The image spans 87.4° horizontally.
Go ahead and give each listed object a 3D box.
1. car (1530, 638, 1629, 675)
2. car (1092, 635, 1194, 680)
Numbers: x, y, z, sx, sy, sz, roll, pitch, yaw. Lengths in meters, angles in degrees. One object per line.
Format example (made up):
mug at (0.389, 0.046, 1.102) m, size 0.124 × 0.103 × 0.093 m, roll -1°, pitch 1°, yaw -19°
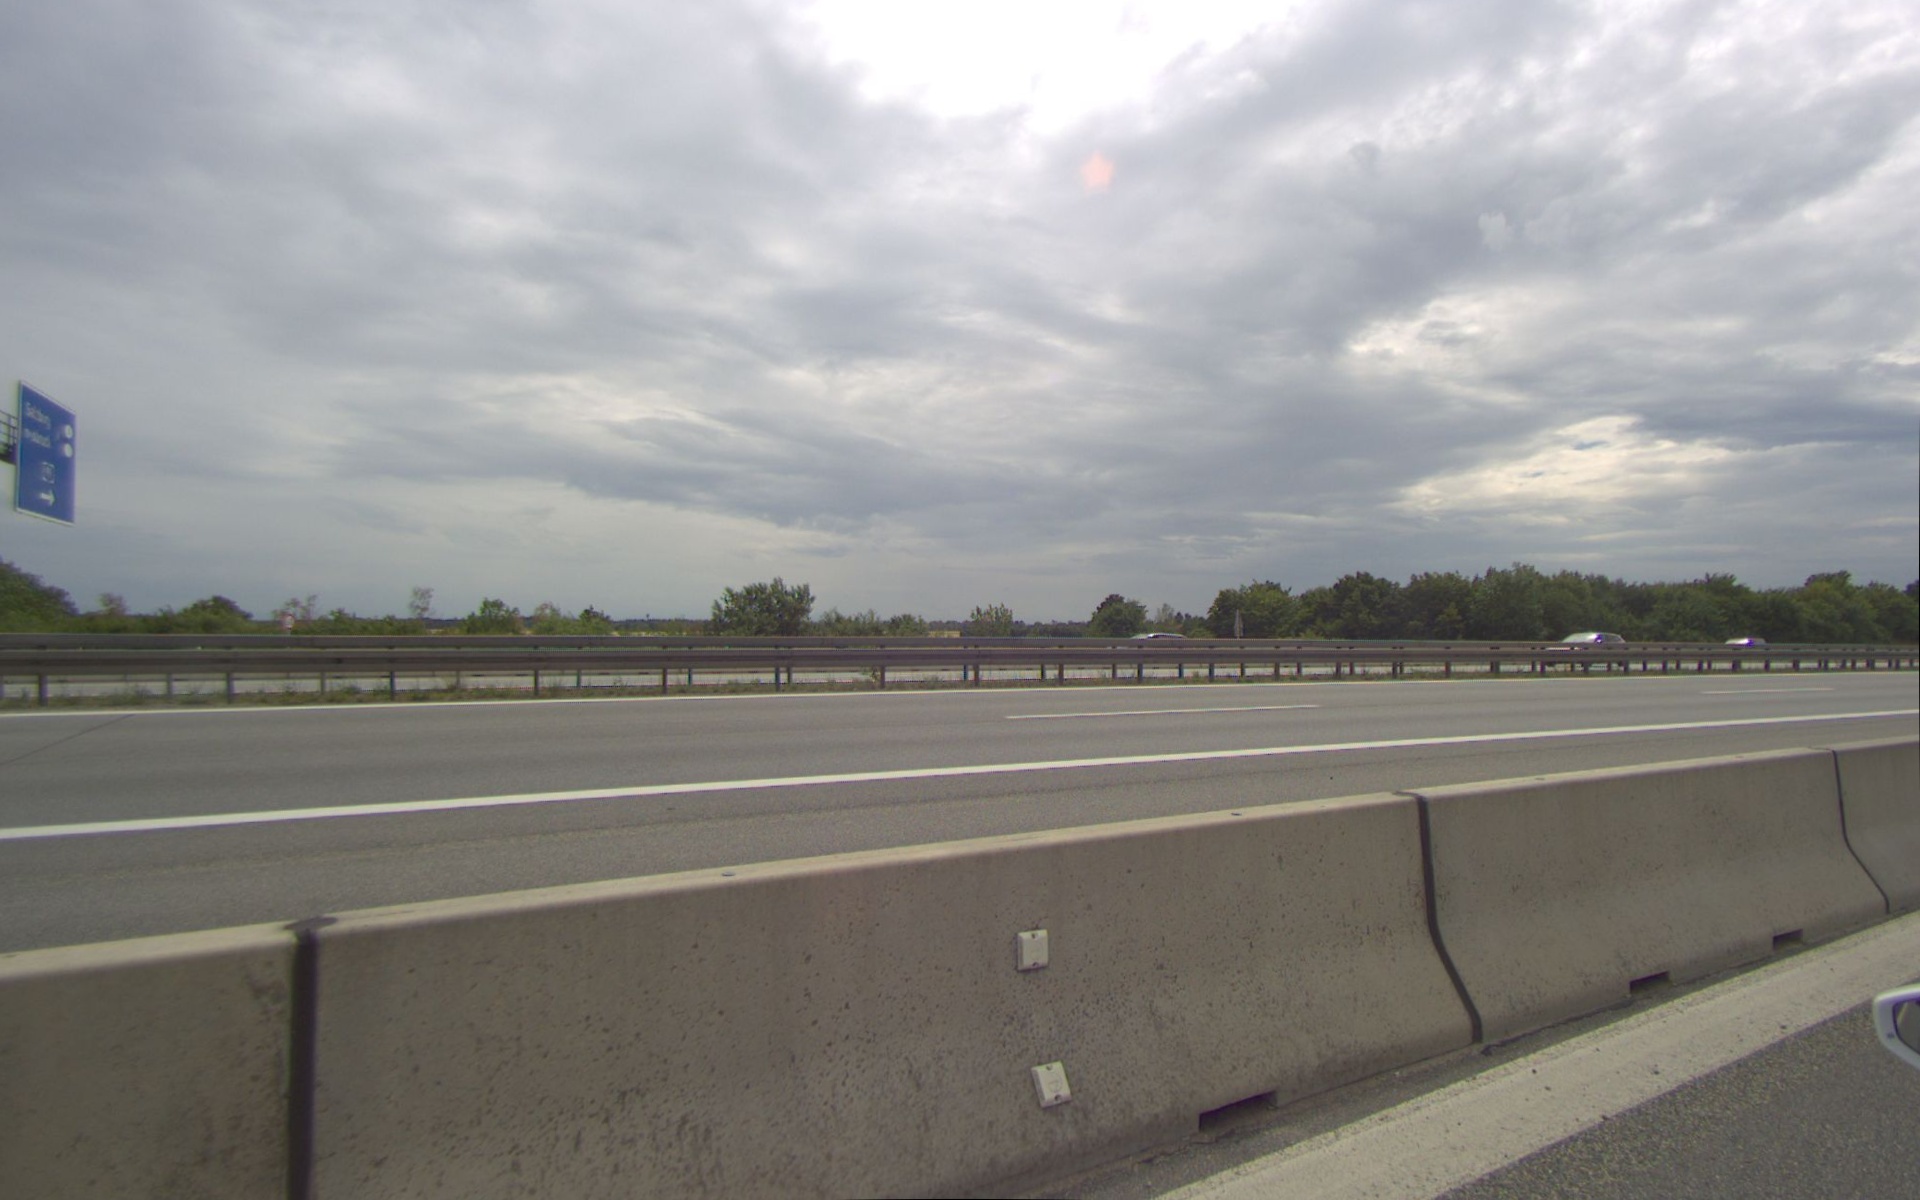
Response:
car at (25.686, 2.309, 41.620) m, size 3.949 × 1.417 × 1.698 m, roll 1°, pitch 0°, yaw -27°
car at (7.757, 2.408, 42.559) m, size 3.947 × 1.728 × 1.823 m, roll 1°, pitch 0°, yaw -26°
